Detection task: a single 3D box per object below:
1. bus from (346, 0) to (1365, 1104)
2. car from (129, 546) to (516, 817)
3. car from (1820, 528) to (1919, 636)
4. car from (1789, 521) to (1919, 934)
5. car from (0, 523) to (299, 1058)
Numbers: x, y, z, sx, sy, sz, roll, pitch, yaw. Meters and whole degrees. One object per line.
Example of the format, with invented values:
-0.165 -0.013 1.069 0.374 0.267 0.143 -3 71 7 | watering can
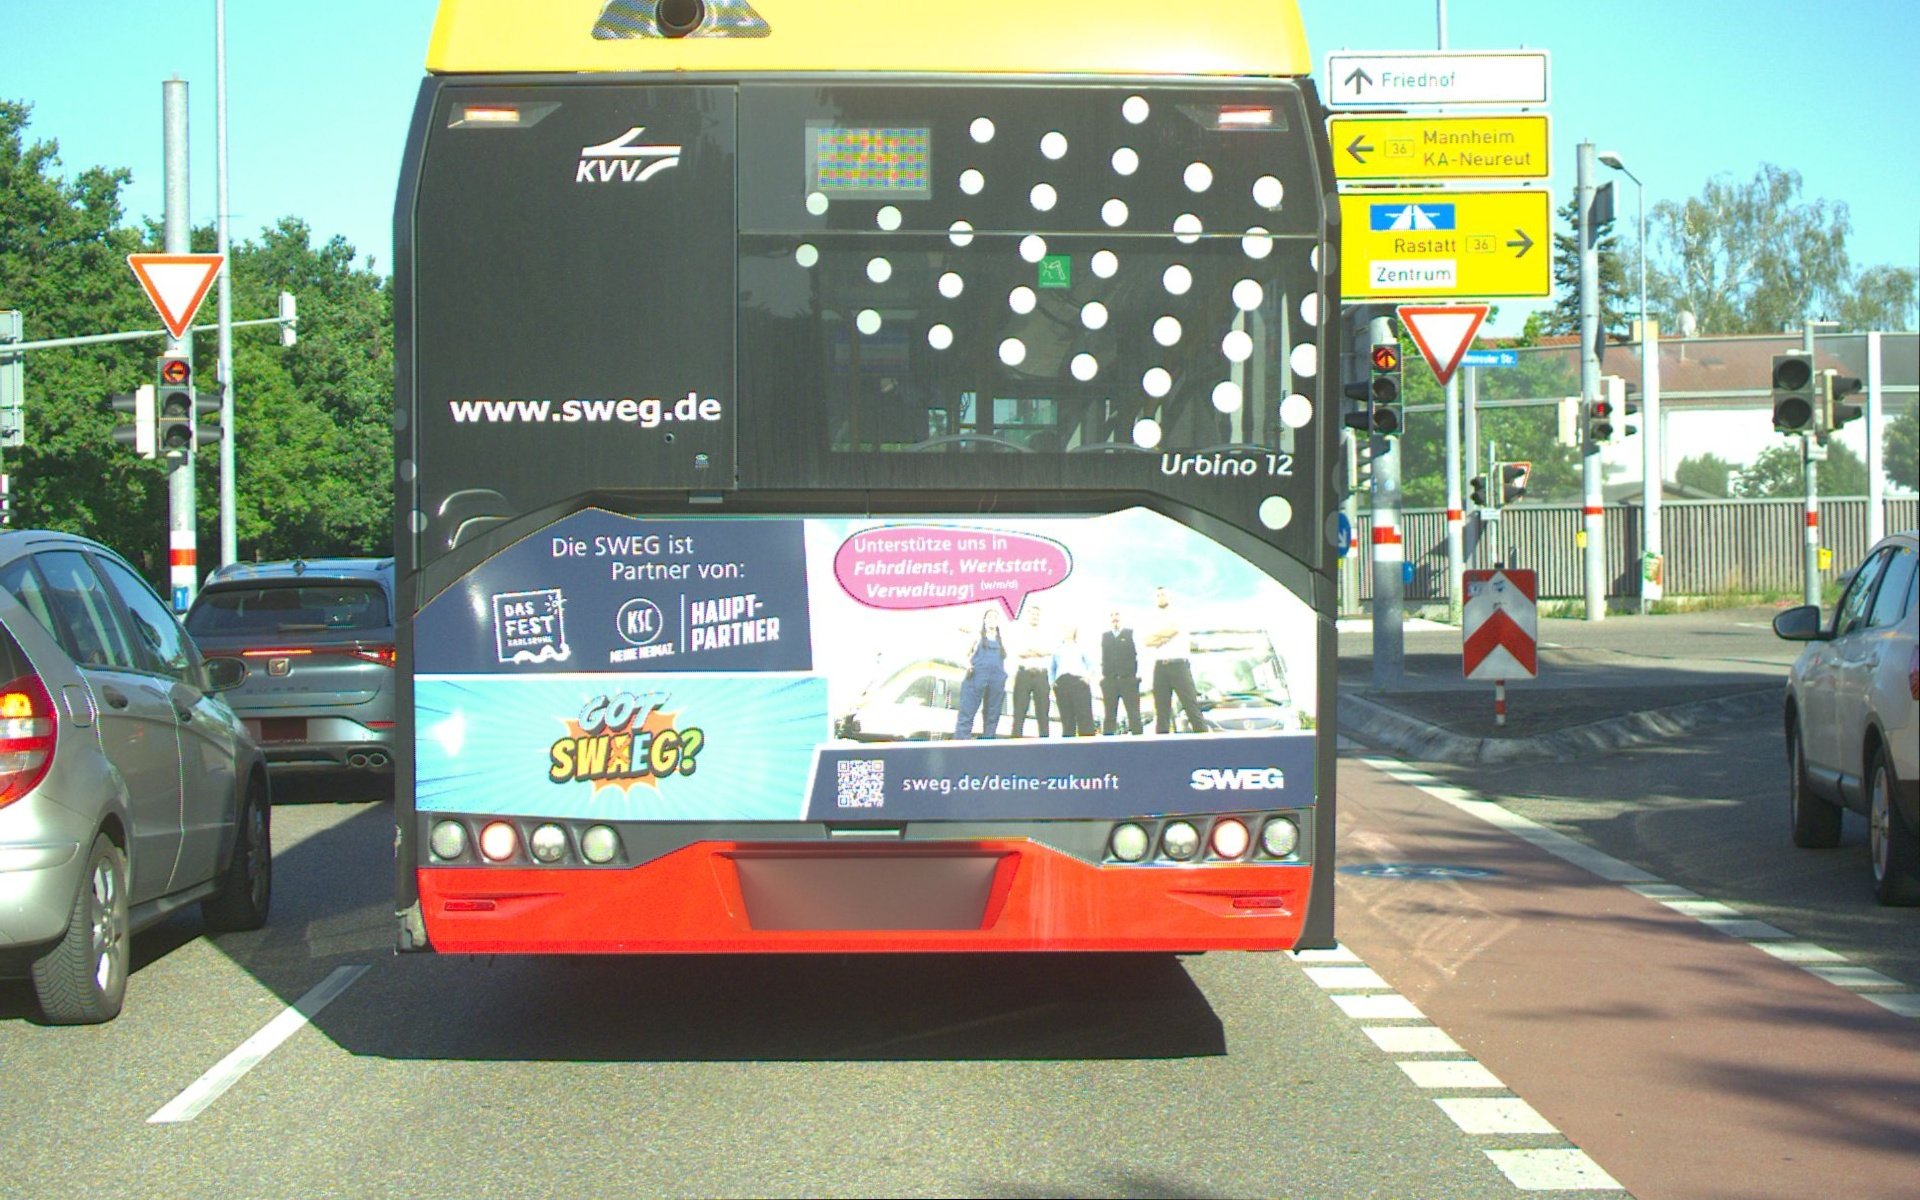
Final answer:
-0.292 -0.404 14.895 2.642 3.156 11.861 0 1 0 | bus
-3.811 0.428 21.129 1.692 1.453 3.751 -2 1 -1 | car
16.973 -0.288 58.958 3.987 1.809 1.923 1 0 3 | car
4.775 0.466 15.242 1.718 1.602 4.066 1 1 8 | car
-3.605 0.558 12.197 1.761 1.584 4.000 -2 1 -1 | car
